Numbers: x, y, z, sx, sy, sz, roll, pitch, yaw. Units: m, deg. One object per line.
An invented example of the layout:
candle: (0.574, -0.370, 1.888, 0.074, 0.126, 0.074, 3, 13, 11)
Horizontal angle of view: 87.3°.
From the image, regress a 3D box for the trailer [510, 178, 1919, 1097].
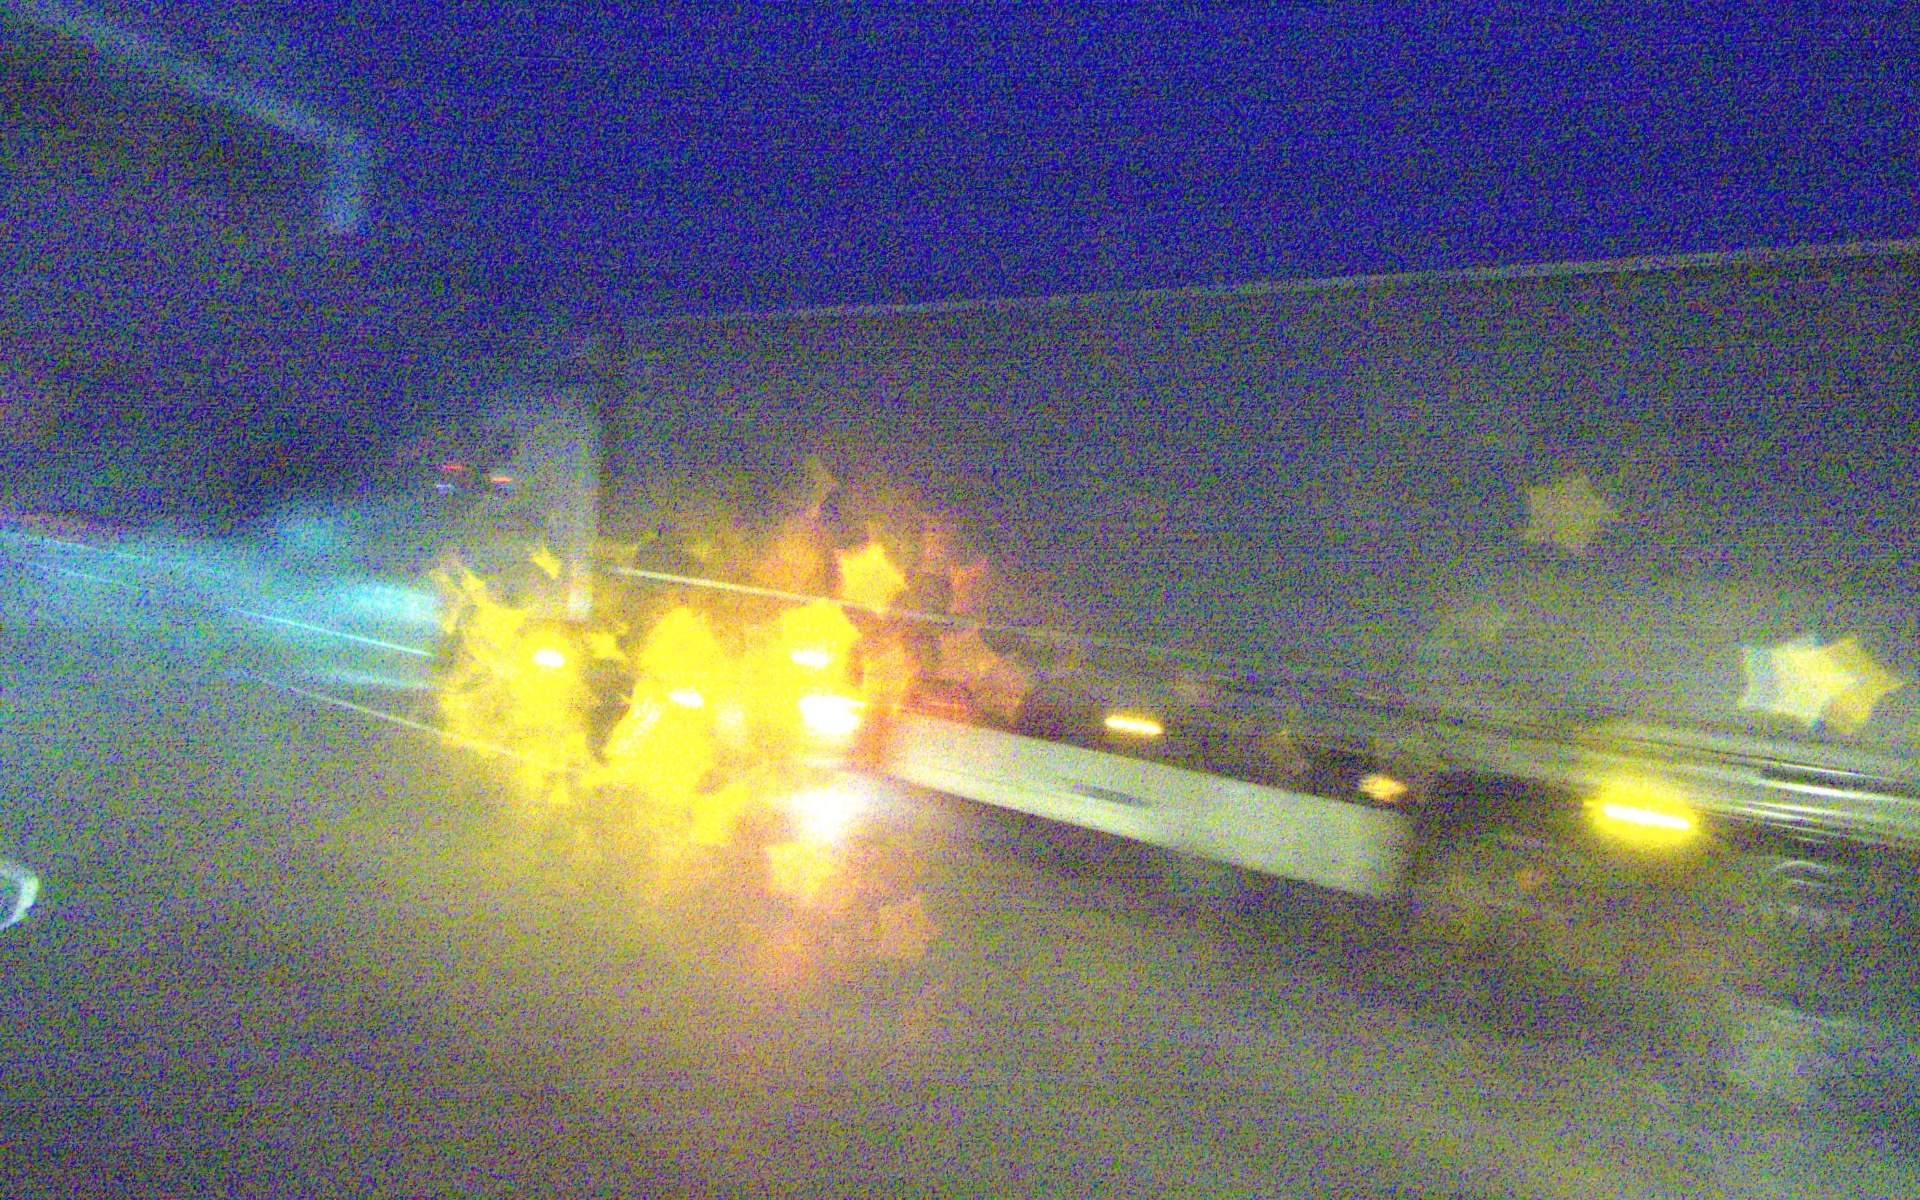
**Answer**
trailer: (2.601, -0.063, 7.353, 14.245, 4.161, 2.906, 7, 1, 31)

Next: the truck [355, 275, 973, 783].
truck: (-3.339, -0.776, 10.987, 5.930, 4.161, 2.906, 7, 1, 31)
